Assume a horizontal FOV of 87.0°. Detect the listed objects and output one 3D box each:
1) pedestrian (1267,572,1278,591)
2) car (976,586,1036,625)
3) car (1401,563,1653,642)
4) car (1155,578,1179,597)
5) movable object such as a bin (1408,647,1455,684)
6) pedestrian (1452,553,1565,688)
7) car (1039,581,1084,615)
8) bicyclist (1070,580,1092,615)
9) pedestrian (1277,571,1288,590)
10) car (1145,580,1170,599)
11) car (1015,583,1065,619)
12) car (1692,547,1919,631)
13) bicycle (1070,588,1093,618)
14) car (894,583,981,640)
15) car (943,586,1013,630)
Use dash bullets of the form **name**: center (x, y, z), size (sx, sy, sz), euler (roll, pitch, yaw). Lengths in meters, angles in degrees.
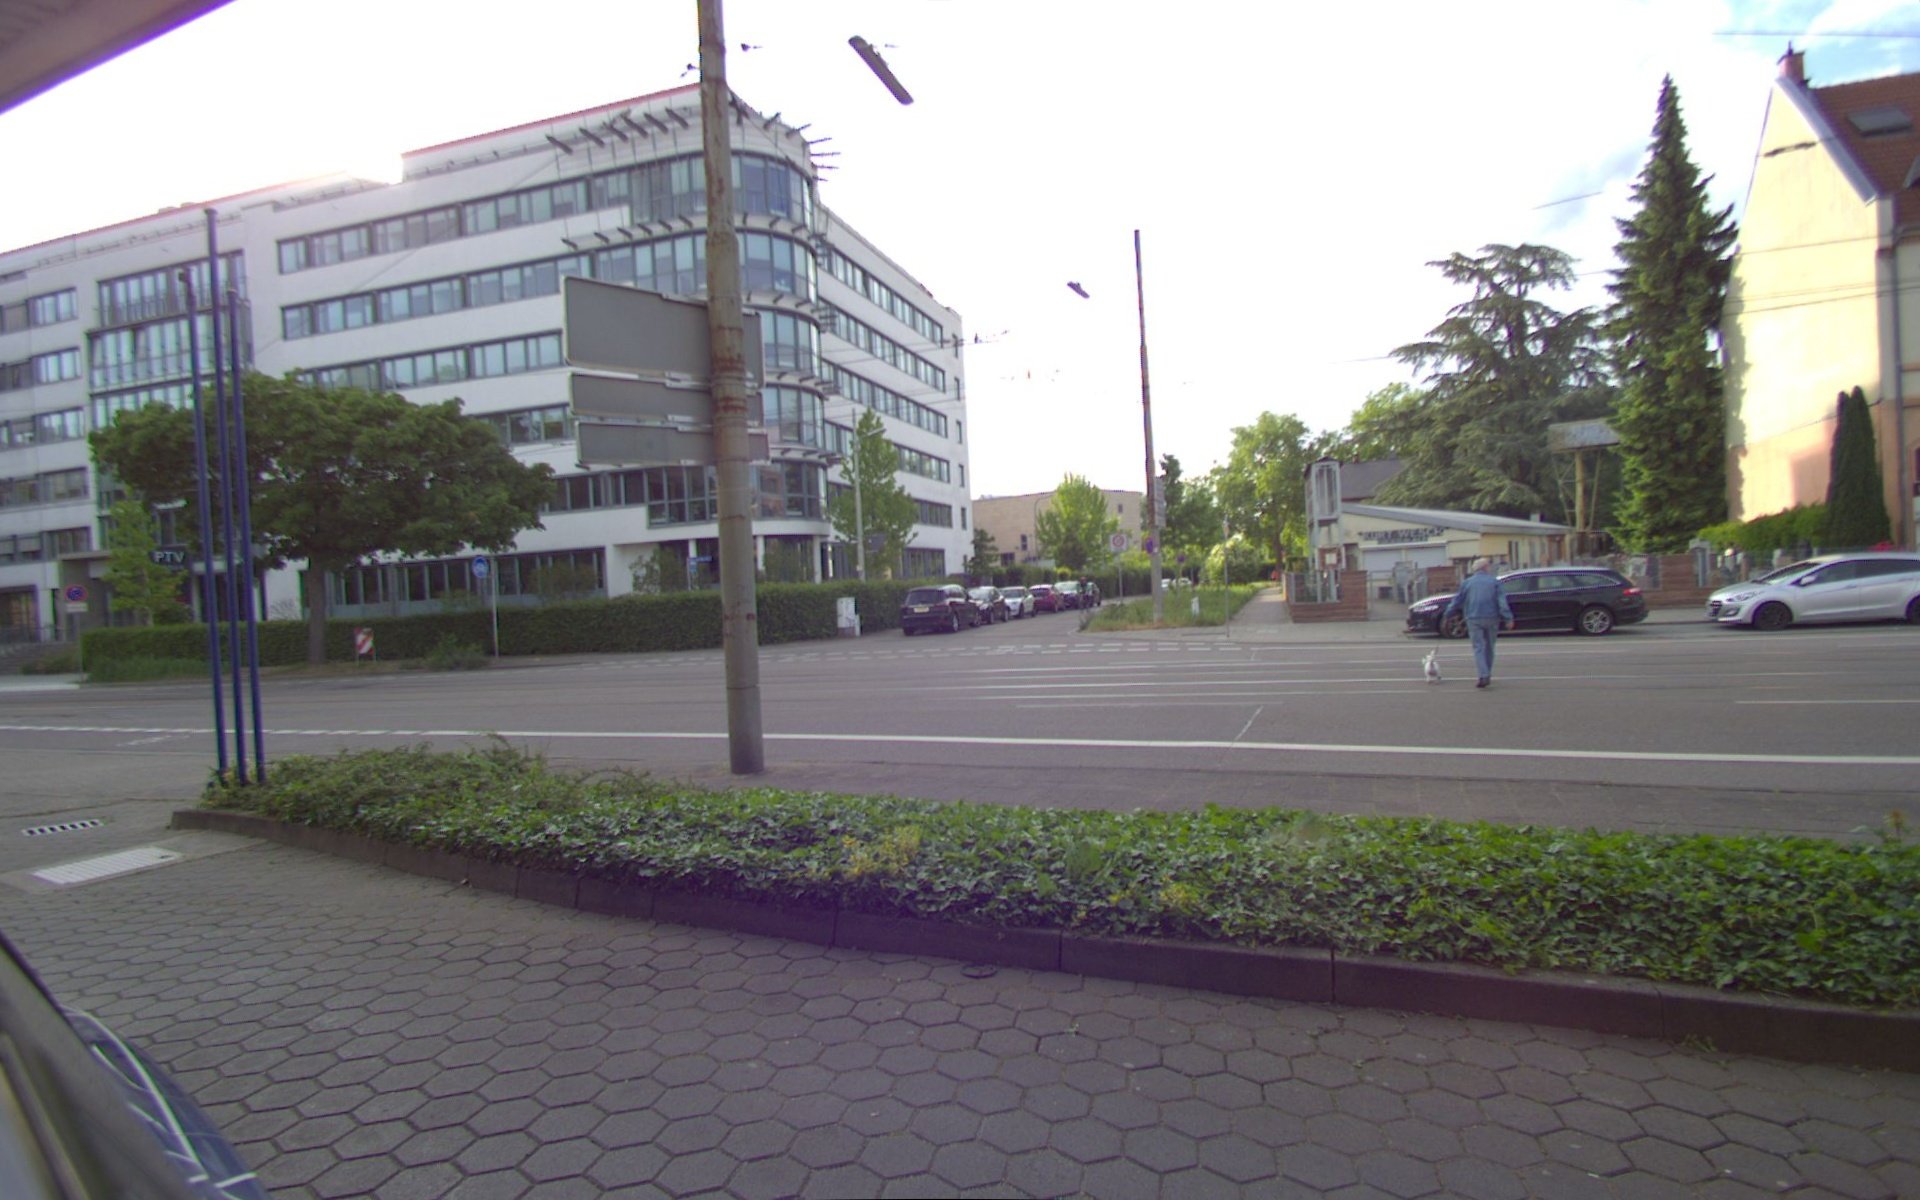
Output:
- **pedestrian**: center (31.120, -1.843, 100.876), size (0.899, 1.865, 0.942), euler (-3, -1, 20)
- **car**: center (2.152, 0.213, 45.788), size (1.929, 1.530, 4.274), euler (-3, 0, 13)
- **car**: center (12.919, 0.055, 23.443), size (4.742, 1.511, 2.001), euler (-3, 1, 21)
- **car**: center (21.707, -1.331, 106.160), size (1.849, 1.748, 4.246), euler (-3, 1, 19)
- **movable object such as a bin**: center (6.553, 0.907, 14.076), size (0.477, 0.424, 0.676), euler (-3, 2, 17)
- **pedestrian**: center (7.252, 0.245, 13.431), size (0.993, 1.680, 0.968), euler (-3, 2, 12)
- **car**: center (5.846, -0.150, 57.722), size (1.929, 1.748, 4.512), euler (-3, 0, 13)
- **bicyclist**: center (5.846, -0.139, 48.869), size (0.858, 1.617, 1.024), euler (-3, 3, 14)
- **pedestrian**: center (32.114, -1.918, 100.652), size (0.899, 1.865, 0.942), euler (-3, -1, 20)
- **car**: center (19.715, -1.081, 100.791), size (1.849, 1.748, 4.247), euler (-3, 0, 19)
- **car**: center (4.186, 0.023, 52.493), size (1.929, 1.650, 4.274), euler (-3, 0, 13)
- **car**: center (18.429, -0.243, 21.381), size (4.424, 1.494, 1.713), euler (-3, 1, 21)
- **bicycle**: center (5.886, 0.128, 48.964), size (0.858, 1.320, 1.911), euler (-3, 3, 13)
- **car**: center (-0.717, 0.359, 35.417), size (1.994, 1.704, 4.274), euler (-3, 1, 13)
- **car**: center (0.803, 0.290, 40.977), size (1.929, 1.551, 4.274), euler (-3, 0, 13)
